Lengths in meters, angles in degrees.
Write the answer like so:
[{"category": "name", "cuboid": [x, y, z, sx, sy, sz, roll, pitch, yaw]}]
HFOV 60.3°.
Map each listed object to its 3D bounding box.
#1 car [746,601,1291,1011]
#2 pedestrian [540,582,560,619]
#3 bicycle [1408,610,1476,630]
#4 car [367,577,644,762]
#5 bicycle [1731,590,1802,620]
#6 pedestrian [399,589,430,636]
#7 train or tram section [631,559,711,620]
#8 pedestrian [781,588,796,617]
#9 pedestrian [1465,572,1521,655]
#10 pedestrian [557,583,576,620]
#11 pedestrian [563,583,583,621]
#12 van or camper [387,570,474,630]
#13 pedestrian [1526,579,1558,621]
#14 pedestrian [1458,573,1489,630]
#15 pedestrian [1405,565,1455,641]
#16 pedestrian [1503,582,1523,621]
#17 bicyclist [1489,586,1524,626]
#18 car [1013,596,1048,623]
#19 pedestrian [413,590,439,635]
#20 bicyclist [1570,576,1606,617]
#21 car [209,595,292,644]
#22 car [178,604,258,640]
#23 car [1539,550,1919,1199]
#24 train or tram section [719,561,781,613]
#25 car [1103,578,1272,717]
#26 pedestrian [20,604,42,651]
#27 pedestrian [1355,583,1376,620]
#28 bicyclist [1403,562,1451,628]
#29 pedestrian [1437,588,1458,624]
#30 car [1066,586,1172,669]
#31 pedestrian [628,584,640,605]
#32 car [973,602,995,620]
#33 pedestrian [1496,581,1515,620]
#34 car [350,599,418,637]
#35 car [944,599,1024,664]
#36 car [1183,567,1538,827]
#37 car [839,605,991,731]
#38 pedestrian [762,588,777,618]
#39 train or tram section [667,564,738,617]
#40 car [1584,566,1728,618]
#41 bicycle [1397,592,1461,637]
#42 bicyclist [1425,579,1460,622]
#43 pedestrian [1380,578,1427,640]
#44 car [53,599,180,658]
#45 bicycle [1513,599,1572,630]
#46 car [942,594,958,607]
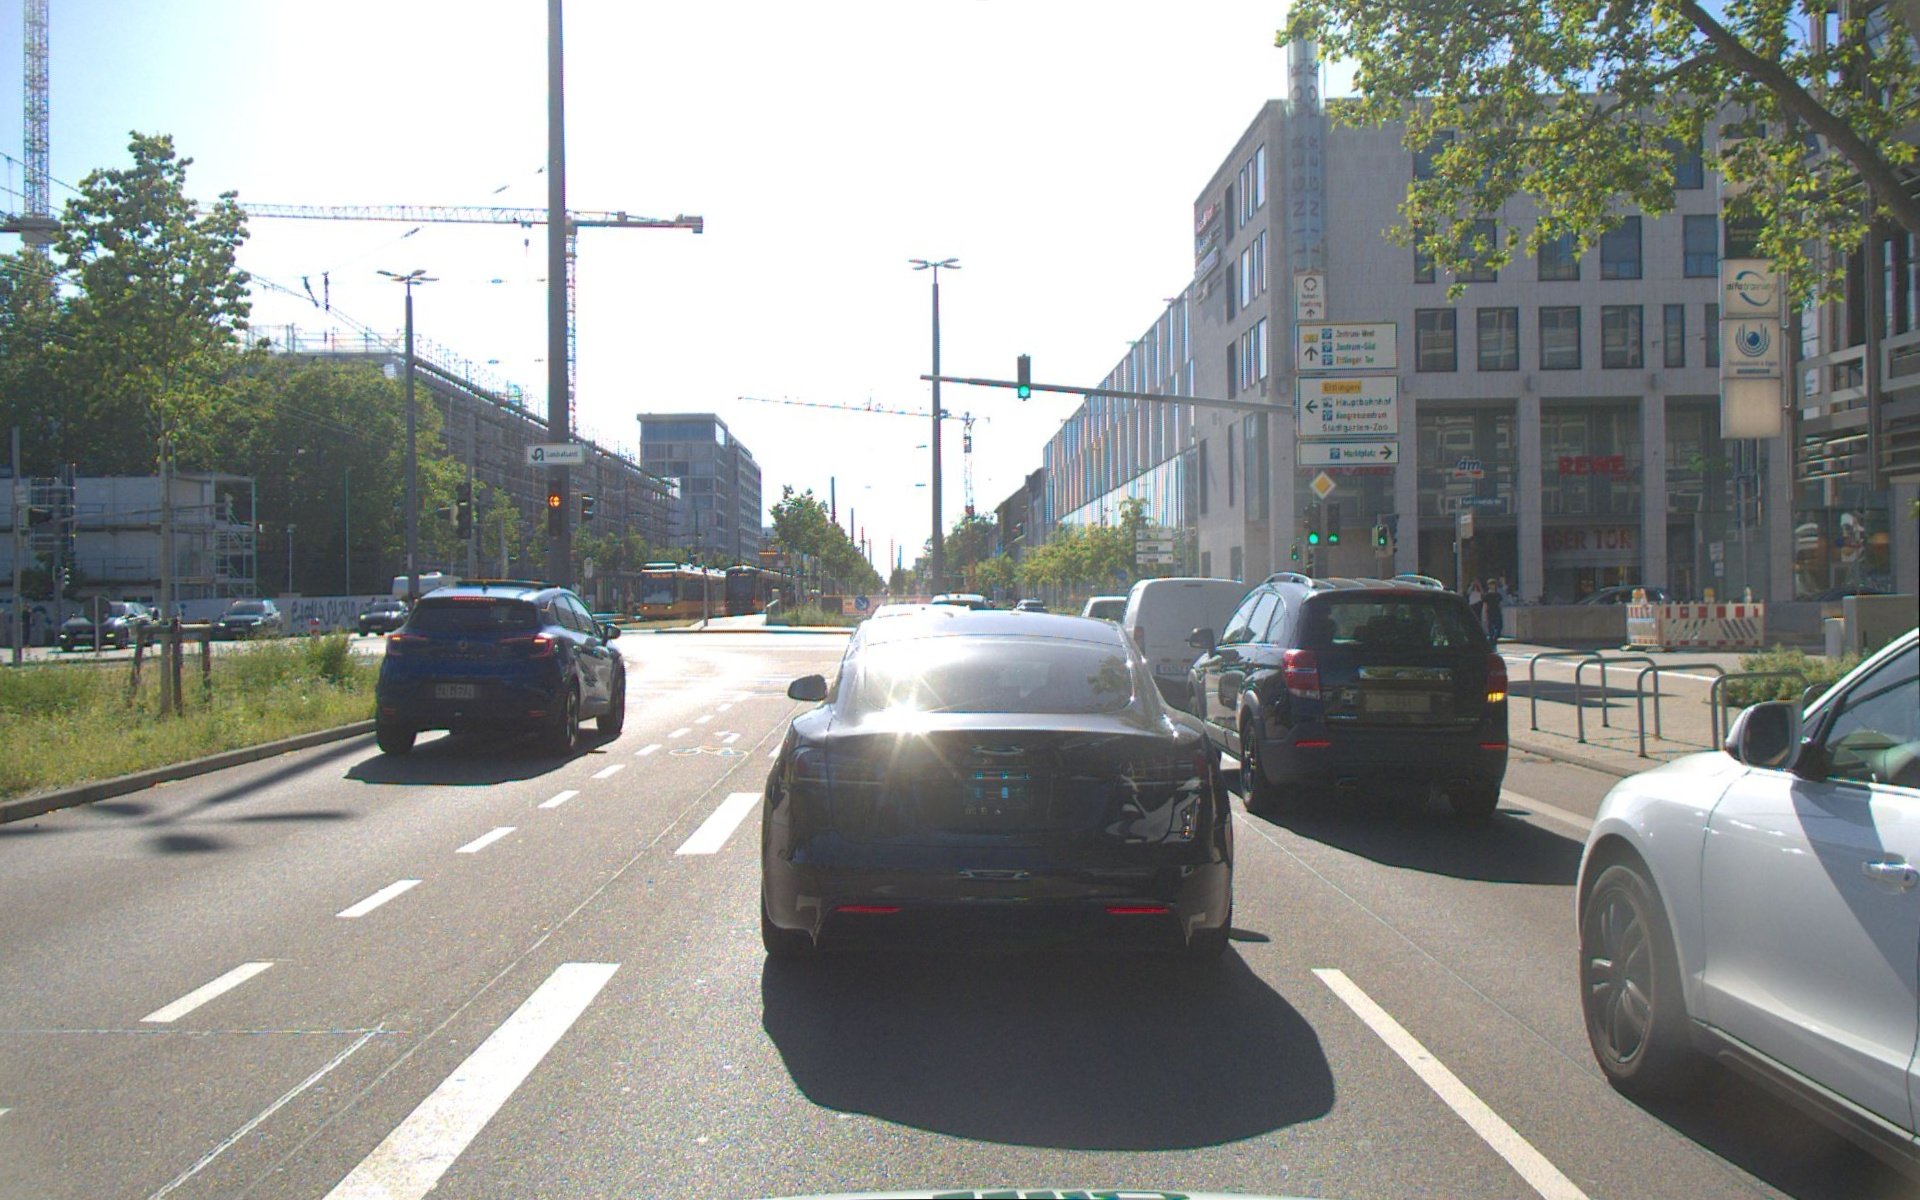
[{"category": "car", "cuboid": [0.198, 0.743, 8.149, 1.958, 1.459, 4.412, 0, 0, 0]}, {"category": "pedestrian", "cuboid": [-20.692, 0.003, 83.429, 0.784, 1.855, 0.975, -1, 0, -4]}, {"category": "bicycle", "cuboid": [17.465, 0.727, 59.980, 2.147, 0.683, 1.072, -1, 0, 2]}, {"category": "car", "cuboid": [-4.425, 0.615, 16.731, 1.734, 1.616, 4.087, 1, 0, -2]}, {"category": "bicycle", "cuboid": [30.767, 0.190, 63.154, 1.044, 1.113, 3.498, -1, 0, 1]}, {"category": "pedestrian", "cuboid": [-22.139, 0.505, 67.137, 0.785, 1.855, 0.880, -1, 0, 31]}, {"category": "train or tram section", "cuboid": [-17.162, -0.615, 99.247, 2.812, 3.367, 13.068, 1, 0, -2]}, {"category": "pedestrian", "cuboid": [-9.680, 0.131, 93.392, 0.726, 1.657, 0.861, 0, 0, -1]}, {"category": "pedestrian", "cuboid": [13.289, 0.333, 41.265, 0.929, 2.049, 1.077, 0, 0, -9]}, {"category": "pedestrian", "cuboid": [-20.358, 0.068, 85.605, 0.784, 1.855, 0.975, -1, 0, -4]}, {"category": "pedestrian", "cuboid": [-19.321, 0.106, 82.647, 0.784, 1.855, 0.975, -1, 0, -4]}, {"category": "van or camper", "cuboid": [-27.978, -0.026, 87.659, 2.553, 2.988, 7.338, -1, 0, -3]}, {"category": "pedestrian", "cuboid": [23.924, 0.013, 68.022, 0.957, 1.713, 0.860, -1, 0, -4]}, {"category": "pedestrian", "cuboid": [15.131, 0.052, 48.707, 0.648, 1.640, 0.526, -3, 0, -10]}, {"category": "pedestrian", "cuboid": [12.928, 0.074, 45.524, 0.930, 2.049, 1.076, 0, 0, -12]}, {"category": "pedestrian", "cuboid": [25.526, 0.050, 76.321, 0.551, 1.793, 0.641, -1, 1, -38]}, {"category": "bicyclist", "cuboid": [19.891, 0.223, 60.233, 0.913, 1.420, 1.077, -1, 0, 2]}, {"category": "car", "cuboid": [4.223, 0.577, 99.517, 1.895, 1.569, 3.999, 0, 0, -1]}, {"category": "pedestrian", "cuboid": [-22.371, 0.524, 69.293, 0.784, 1.855, 0.975, -1, 0, -4]}, {"category": "bicyclist", "cuboid": [22.842, -0.117, 60.202, 0.913, 1.458, 1.041, -1, 0, 2]}, {"category": "car", "cuboid": [-29.900, 0.793, 69.835, 1.832, 1.990, 3.999, -1, 0, -1]}, {"category": "car", "cuboid": [-35.100, 1.008, 78.356, 1.952, 1.629, 4.000, -1, 0, 1]}, {"category": "car", "cuboid": [2.984, 0.707, 3.738, 1.782, 1.641, 4.412, 0, 0, 0]}, {"category": "train or tram section", "cuboid": [-14.652, -0.888, 116.333, 2.812, 3.337, 15.179, 1, 0, -2]}, {"category": "car", "cuboid": [3.082, 0.585, 23.159, 1.748, 1.764, 4.163, 0, 0, -1]}, {"category": "pedestrian", "cuboid": [-37.588, 1.102, 66.904, 0.694, 1.855, 0.587, -1, 0, -39]}, {"category": "pedestrian", "cuboid": [17.892, 0.069, 72.974, 0.732, 1.636, 0.556, -1, 1, -3]}, {"category": "bicyclist", "cuboid": [10.887, -0.114, 38.582, 0.863, 1.502, 0.883, -1, 0, -2]}, {"category": "pedestrian", "cuboid": [22.393, 0.281, 75.951, 0.551, 1.636, 0.740, -2, 1, -38]}, {"category": "car", "cuboid": [3.174, 0.515, 33.686, 1.748, 1.573, 4.038, 0, 0, 0]}, {"category": "pedestrian", "cuboid": [-20.077, -0.350, 101.835, 0.658, 1.248, 0.505, 1, -1, -4]}, {"category": "car", "cuboid": [2.137, 0.988, 151.071, 1.895, 1.569, 3.999, 0, 0, -1]}, {"category": "pedestrian", "cuboid": [25.028, 0.017, 75.890, 0.551, 1.793, 0.641, -1, 1, -38]}, {"category": "car", "cuboid": [-27.396, 0.839, 78.821, 1.907, 1.737, 4.365, -1, 0, -3]}, {"category": "car", "cuboid": [0.492, 0.677, 37.230, 1.681, 1.343, 3.999, 0, 0, -1]}, {"category": "car", "cuboid": [2.974, 0.632, 13.247, 1.748, 1.729, 4.412, 0, 0, 0]}, {"category": "car", "cuboid": [-0.524, 0.758, 20.293, 1.681, 1.343, 3.999, 0, 0, -1]}, {"category": "pedestrian", "cuboid": [-11.919, 0.188, 103.387, 0.857, 1.806, 1.188, 1, 1, -5]}, {"category": "train or tram section", "cuboid": [-17.564, -0.556, 113.743, 2.790, 3.380, 15.959, 1, 0, -2]}, {"category": "car", "cuboid": [23.666, -0.253, 56.304, 4.099, 1.641, 1.861, -1, -2, 1]}, {"category": "bicycle", "cuboid": [10.893, 0.317, 38.497, 0.863, 1.002, 2.050, -1, 0, -1]}, {"category": "bicyclist", "cuboid": [17.494, 0.017, 59.993, 1.000, 1.502, 1.072, -1, 0, 2]}, {"category": "pedestrian", "cuboid": [13.616, 0.264, 50.819, 0.947, 1.833, 1.522, -3, 0, -2]}, {"category": "car", "cuboid": [-26.352, 0.865, 51.812, 1.788, 1.719, 4.092, -1, 0, 1]}, {"category": "bicycle", "cuboid": [22.248, 0.540, 63.222, 1.044, 1.113, 3.497, -1, 0, 0]}, {"category": "car", "cuboid": [-1.211, 0.050, 196.163, 1.895, 1.569, 3.999, 0, 0, -1]}]
